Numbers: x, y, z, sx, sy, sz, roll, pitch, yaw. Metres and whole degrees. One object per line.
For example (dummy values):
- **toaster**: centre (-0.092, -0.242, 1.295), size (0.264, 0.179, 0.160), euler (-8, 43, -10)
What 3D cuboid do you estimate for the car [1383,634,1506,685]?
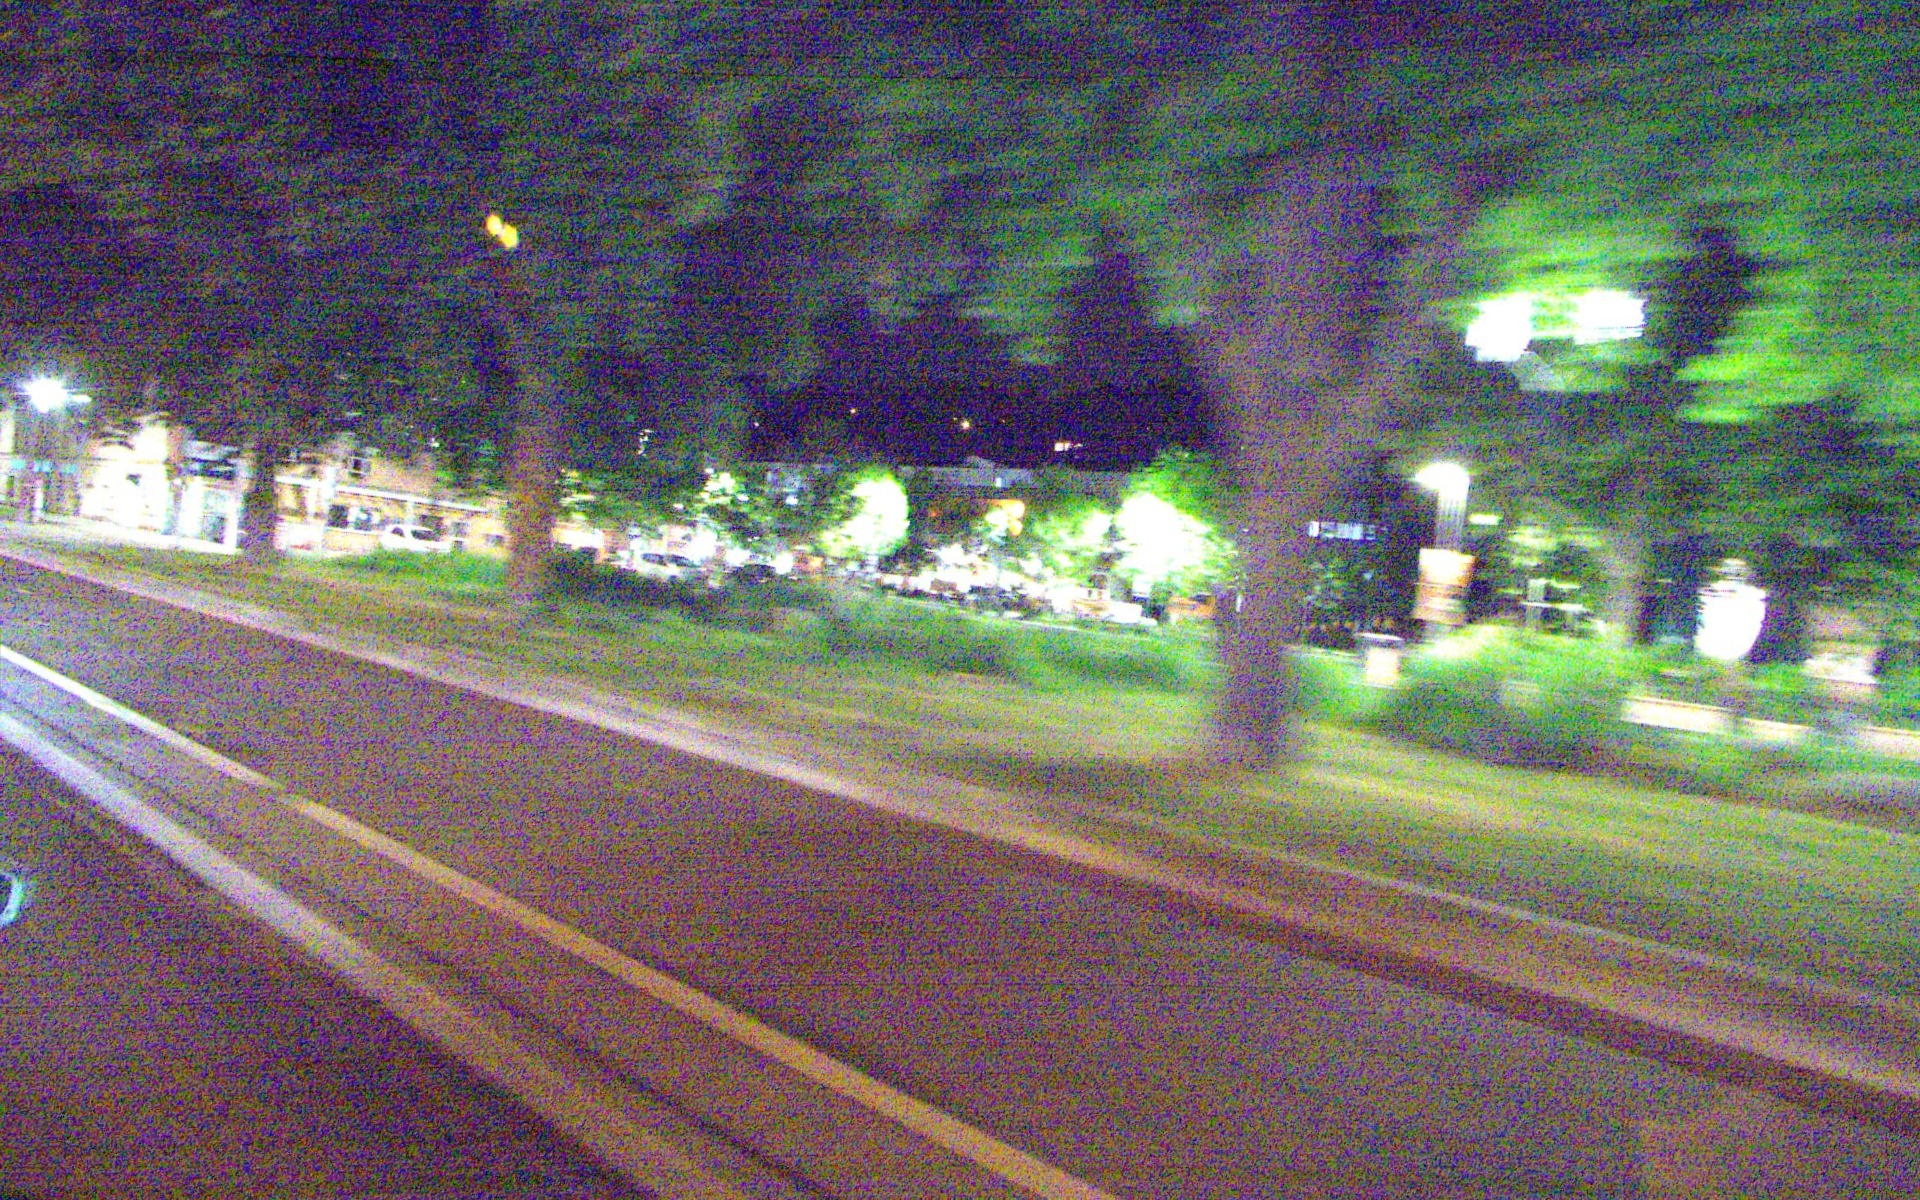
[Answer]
- **car**: centre (20.192, 2.447, 41.965), size (4.233, 1.528, 1.993), euler (7, 2, 35)

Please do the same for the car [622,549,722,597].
- **car**: centre (-11.928, -1.129, 41.571), size (4.034, 1.553, 1.768), euler (7, 1, 36)

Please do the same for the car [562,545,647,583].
- **car**: centre (-18.504, -1.877, 52.305), size (4.174, 1.447, 1.993), euler (7, 1, 35)

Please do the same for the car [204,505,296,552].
- **car**: centre (-27.974, -2.826, 39.616), size (4.411, 1.413, 1.512), euler (7, 1, 35)

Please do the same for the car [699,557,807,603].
- **car**: centre (-9.411, -0.925, 45.649), size (4.814, 1.532, 1.889), euler (7, 1, 34)

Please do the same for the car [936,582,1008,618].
- **car**: centre (0.778, 0.017, 61.613), size (2.048, 1.788, 4.534), euler (7, 1, 37)

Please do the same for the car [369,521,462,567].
- **car**: centre (-24.080, -2.481, 44.474), size (3.933, 1.553, 1.783), euler (7, 1, 31)
